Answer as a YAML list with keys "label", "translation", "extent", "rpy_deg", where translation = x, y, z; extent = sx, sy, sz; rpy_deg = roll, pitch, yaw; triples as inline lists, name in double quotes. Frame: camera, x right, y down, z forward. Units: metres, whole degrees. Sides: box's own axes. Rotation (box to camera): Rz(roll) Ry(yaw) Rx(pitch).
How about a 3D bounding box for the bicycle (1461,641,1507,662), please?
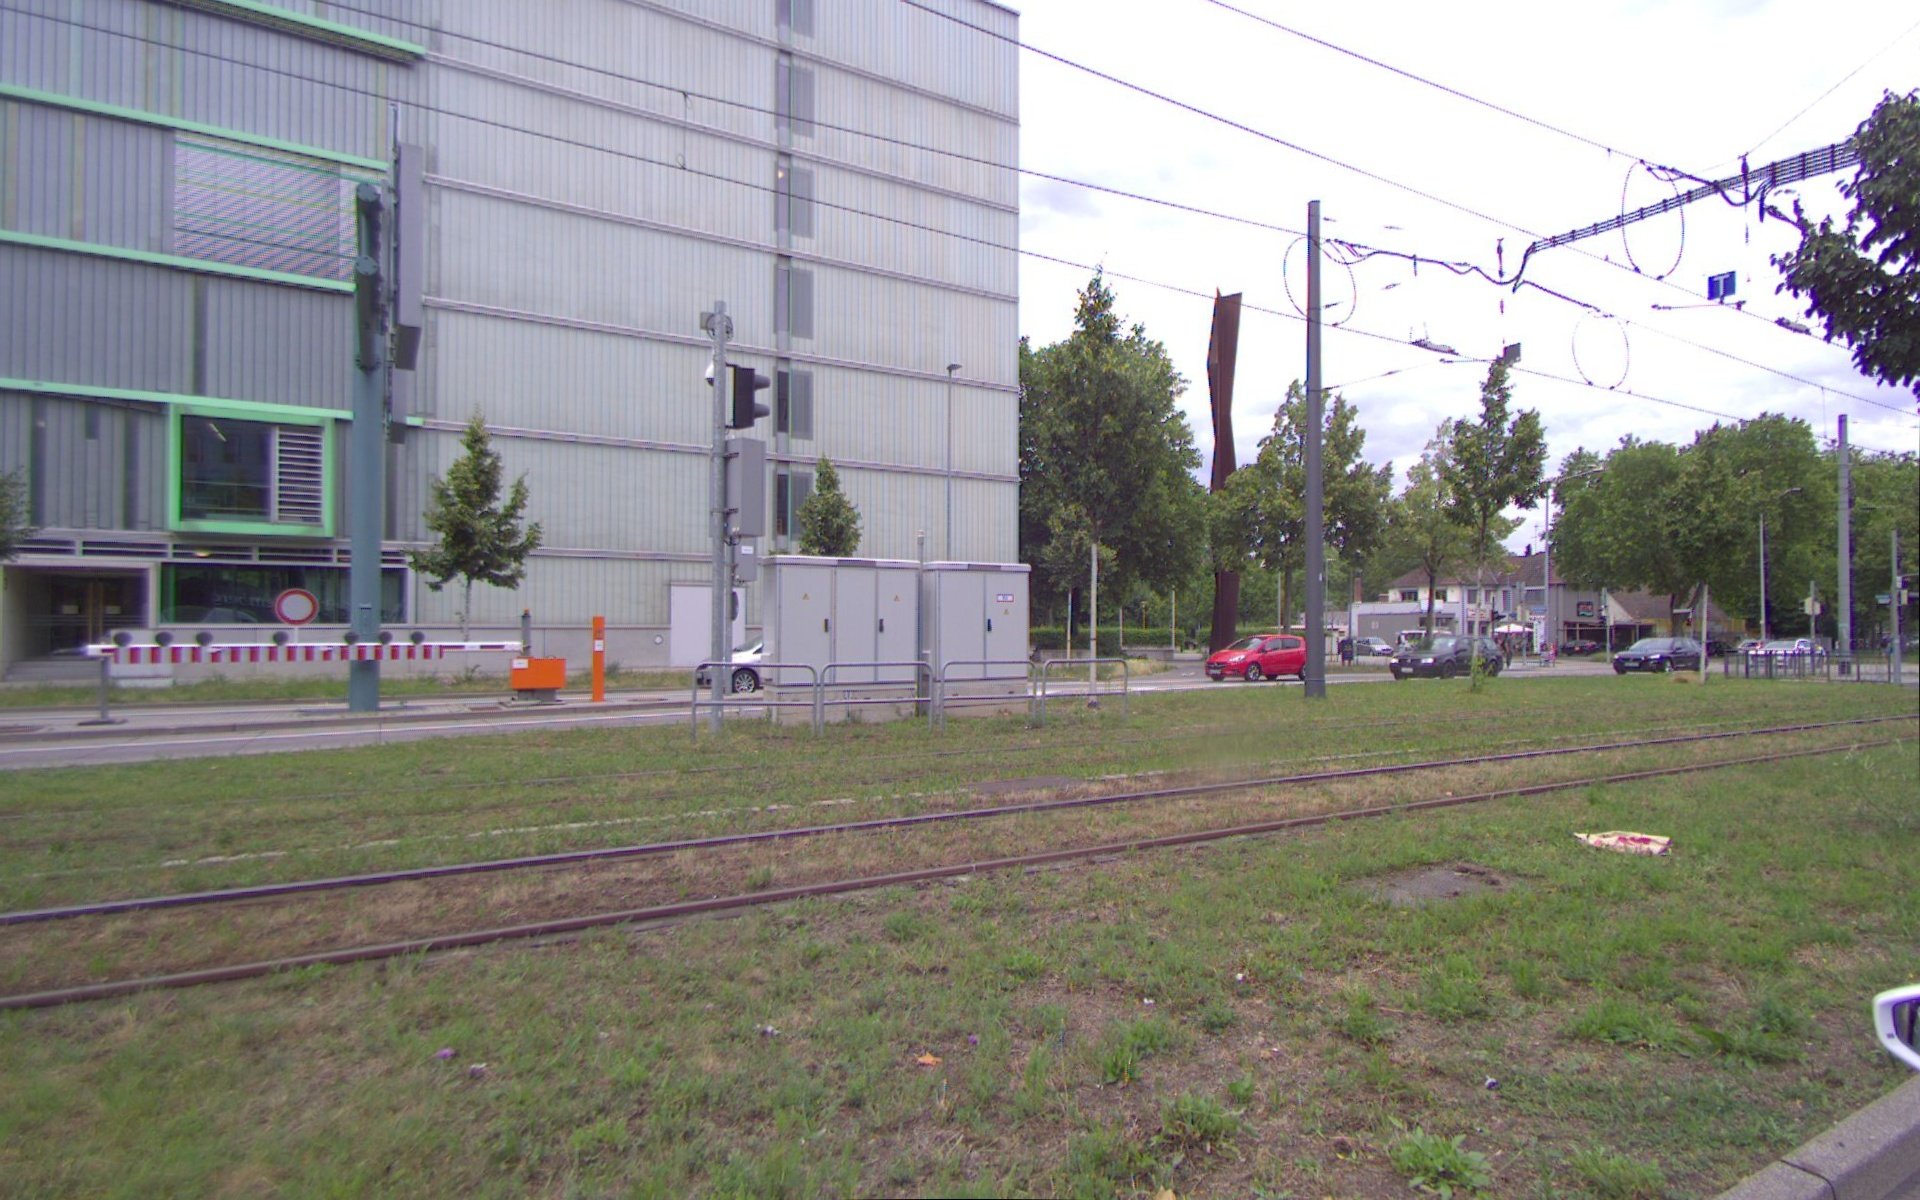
- label: "bicycle"
  translation: [32.540, 3.179, 62.433]
  extent: [2.474, 1.218, 0.738]
  rpy_deg: [-1, -1, 35]

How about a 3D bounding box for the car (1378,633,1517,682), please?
- label: "car"
  translation: [15.342, 1.767, 31.525]
  extent: [4.692, 1.445, 1.655]
  rpy_deg: [1, -3, -32]

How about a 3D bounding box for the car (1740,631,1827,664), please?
- label: "car"
  translation: [41.589, 2.374, 50.696]
  extent: [5.018, 1.609, 1.802]
  rpy_deg: [1, -1, -31]

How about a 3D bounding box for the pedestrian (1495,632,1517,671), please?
- label: "pedestrian"
  translation: [26.770, 2.513, 49.219]
  extent: [0.769, 1.856, 0.771]
  rpy_deg: [-1, -1, 43]

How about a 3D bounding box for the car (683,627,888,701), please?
- label: "car"
  translation: [-4.189, 1.488, 24.434]
  extent: [4.623, 1.665, 1.711]
  rpy_deg: [1, -2, -33]

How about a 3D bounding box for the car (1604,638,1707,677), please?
- label: "car"
  translation: [26.784, 2.194, 38.664]
  extent: [4.011, 1.395, 1.792]
  rpy_deg: [1, -2, -31]

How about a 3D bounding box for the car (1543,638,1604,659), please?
- label: "car"
  translation: [54.967, 4.320, 90.097]
  extent: [2.078, 1.840, 4.268]
  rpy_deg: [1, -1, -25]

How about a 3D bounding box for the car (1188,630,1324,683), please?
- label: "car"
  translation: [9.648, 1.795, 32.678]
  extent: [4.275, 1.591, 1.788]
  rpy_deg: [1, -1, -29]

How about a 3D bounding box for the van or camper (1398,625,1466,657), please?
- label: "van or camper"
  translation: [32.413, 2.781, 69.188]
  extent: [2.416, 2.040, 5.283]
  rpy_deg: [0, -1, 2]

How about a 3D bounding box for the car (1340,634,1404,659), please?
- label: "car"
  translation: [31.282, 3.507, 76.376]
  extent: [2.078, 1.840, 4.268]
  rpy_deg: [1, -1, -25]

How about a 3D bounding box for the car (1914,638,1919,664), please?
- label: "car"
  translation: [52.909, 2.730, 53.627]
  extent: [4.220, 1.395, 1.802]
  rpy_deg: [1, -2, -31]

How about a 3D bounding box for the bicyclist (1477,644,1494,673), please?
- label: "bicyclist"
  translation: [32.628, 3.631, 62.361]
  extent: [0.838, 1.744, 0.719]
  rpy_deg: [0, -1, 34]

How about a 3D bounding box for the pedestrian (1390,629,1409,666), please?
- label: "pedestrian"
  translation: [24.859, 2.667, 56.810]
  extent: [0.887, 2.040, 0.954]
  rpy_deg: [0, -1, 18]
